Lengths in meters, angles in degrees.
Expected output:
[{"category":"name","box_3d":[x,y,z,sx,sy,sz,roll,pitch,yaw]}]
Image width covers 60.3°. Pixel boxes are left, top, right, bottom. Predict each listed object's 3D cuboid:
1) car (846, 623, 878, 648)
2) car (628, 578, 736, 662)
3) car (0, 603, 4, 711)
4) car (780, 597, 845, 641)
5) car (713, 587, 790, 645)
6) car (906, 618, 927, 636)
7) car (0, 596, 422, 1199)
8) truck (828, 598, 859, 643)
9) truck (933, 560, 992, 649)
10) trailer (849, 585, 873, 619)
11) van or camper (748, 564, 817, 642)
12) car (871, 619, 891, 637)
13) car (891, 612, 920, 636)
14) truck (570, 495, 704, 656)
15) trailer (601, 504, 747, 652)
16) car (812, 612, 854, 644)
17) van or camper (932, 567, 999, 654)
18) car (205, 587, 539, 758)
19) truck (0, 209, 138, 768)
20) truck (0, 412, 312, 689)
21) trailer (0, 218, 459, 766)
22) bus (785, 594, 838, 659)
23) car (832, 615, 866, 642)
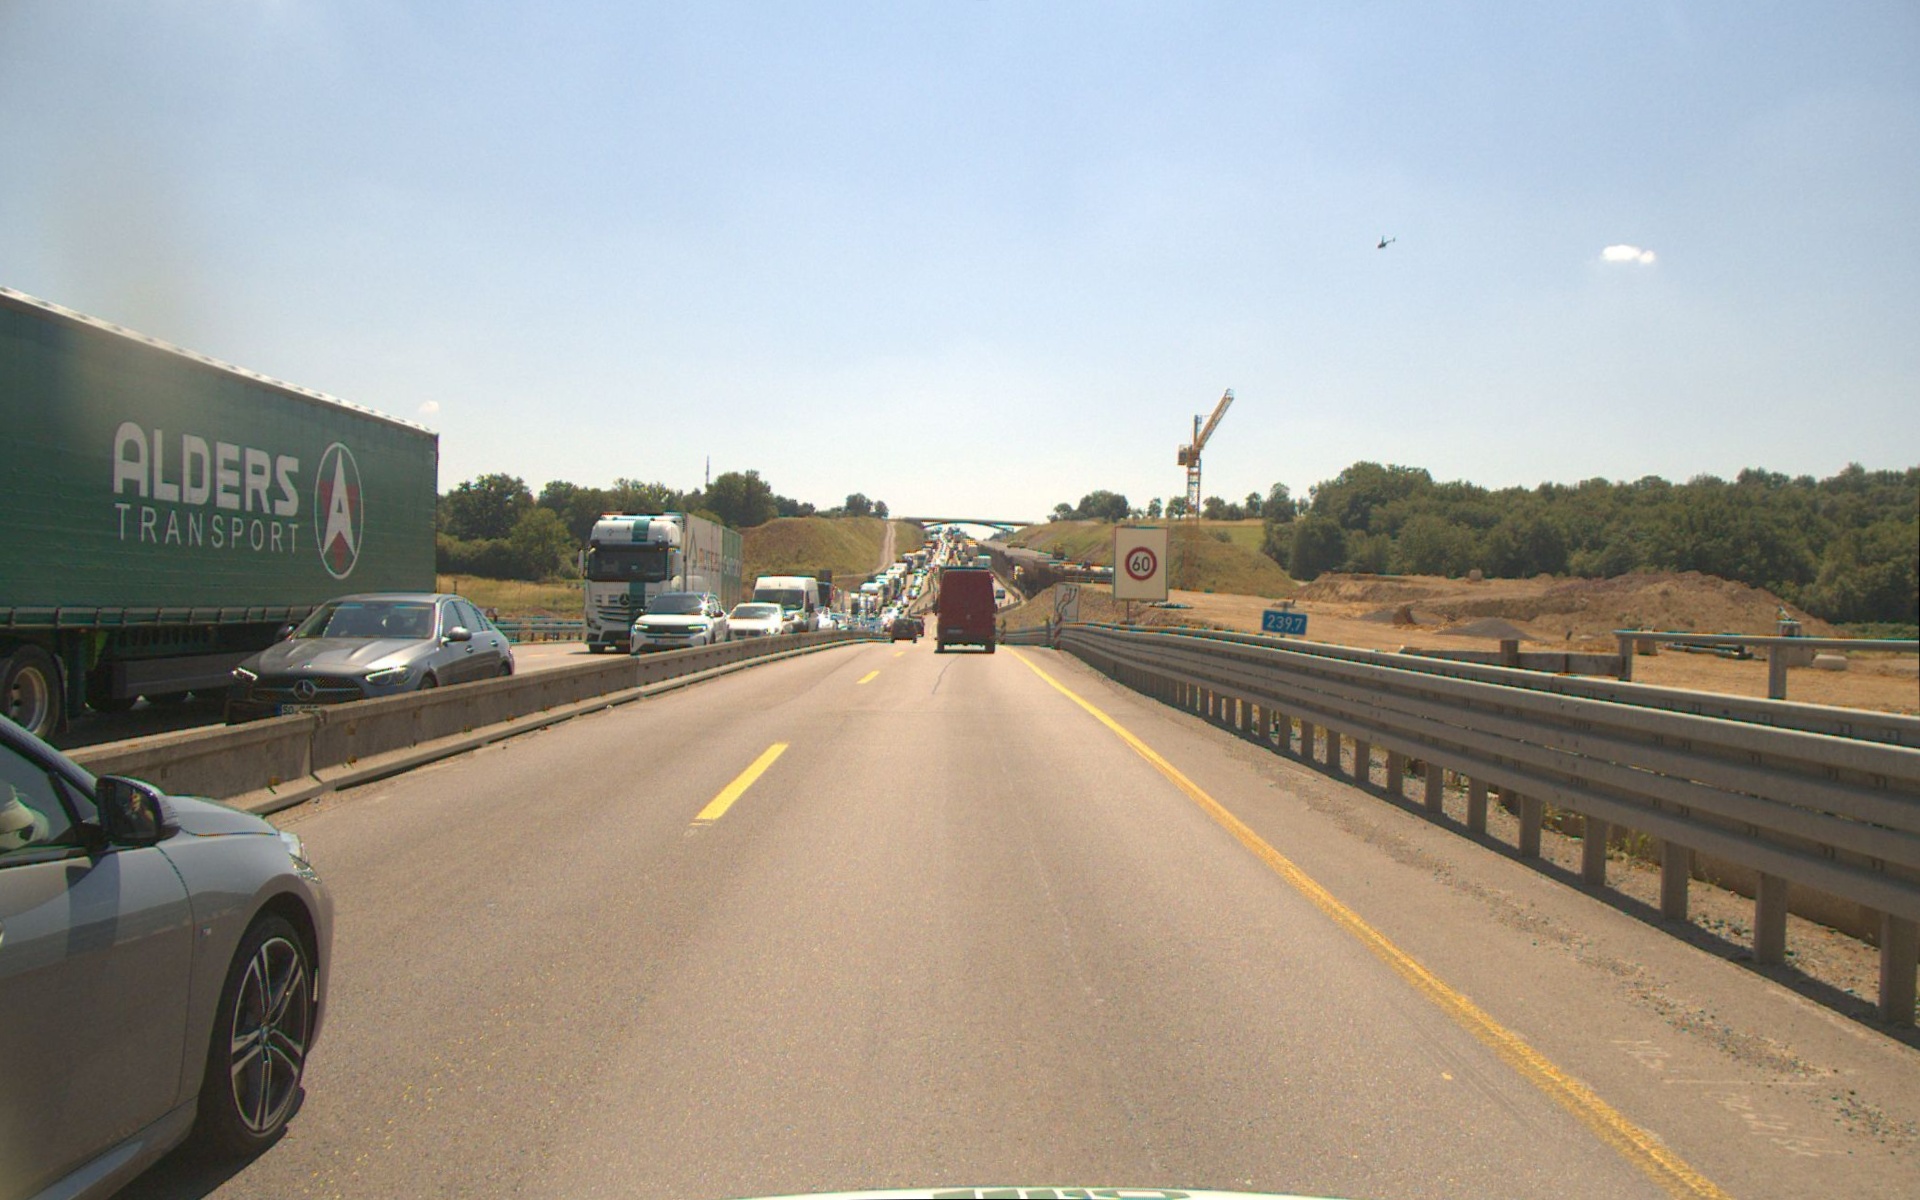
[{"category":"car","box_3d":[-6.682,2.410,113.215,1.879,1.448,5.089,3,0,-1]},{"category":"car","box_3d":[-6.110,0.407,36.759,1.721,1.675,4.154,2,0,-1]},{"category":"car","box_3d":[-5.953,0.711,6.481,1.741,1.445,4.537,2,0,0]},{"category":"car","box_3d":[-6.471,0.810,73.034,2.323,1.756,5.780,3,0,-1]},{"category":"car","box_3d":[-6.049,0.415,48.411,1.955,1.524,4.970,2,0,-5]},{"category":"car","box_3d":[-4.266,2.586,161.251,1.971,1.572,4.131,2,0,-2]},{"category":"car","box_3d":[-2.668,0.741,3.100,1.814,1.477,4.741,1,0,-1]},{"category":"truck","box_3d":[-11.298,1.984,160.068,2.919,4.258,5.868,1,-1,-5]},{"category":"truck","box_3d":[0.072,0.253,93.025,2.960,4.775,6.928,-1,0,-3]},{"category":"trailer","box_3d":[-13.122,0.227,220.922,2.542,4.332,12.465,1,0,-1]},{"category":"van or camper","box_3d":[-6.230,0.079,58.758,2.175,2.555,6.527,2,0,-5]},{"category":"car","box_3d":[-8.169,2.868,170.598,1.953,1.660,4.756,2,0,-2]},{"category":"car","box_3d":[-3.794,1.645,114.297,1.971,1.572,4.130,1,0,-2]},{"category":"truck","box_3d":[-9.527,-0.691,49.422,2.749,4.469,6.224,1,0,0]},{"category":"trailer","box_3d":[-9.560,-0.573,56.926,2.757,4.508,13.166,0,-1,0]},{"category":"car","box_3d":[-6.494,1.430,85.001,1.844,1.457,5.123,2,0,-1]},{"category":"van or camper","box_3d":[0.147,0.336,55.473,1.988,2.792,4.513,1,0,-3]},{"category":"car","box_3d":[-5.968,0.658,17.441,1.827,1.484,4.607,2,0,0]},{"category":"truck","box_3d":[-9.452,-0.934,12.349,3.015,4.616,7.102,1,0,0]},{"category":"truck","box_3d":[-13.783,-0.748,27.264,2.845,3.830,8.366,2,0,0]},{"category":"trailer","box_3d":[-9.506,-0.915,19.927,3.038,4.543,13.018,0,0,0]},{"category":"bus","box_3d":[-10.717,1.768,120.285,2.684,4.338,14.472,2,0,-1]},{"category":"car","box_3d":[-6.798,1.714,101.234,1.801,1.469,4.928,2,0,-1]}]
